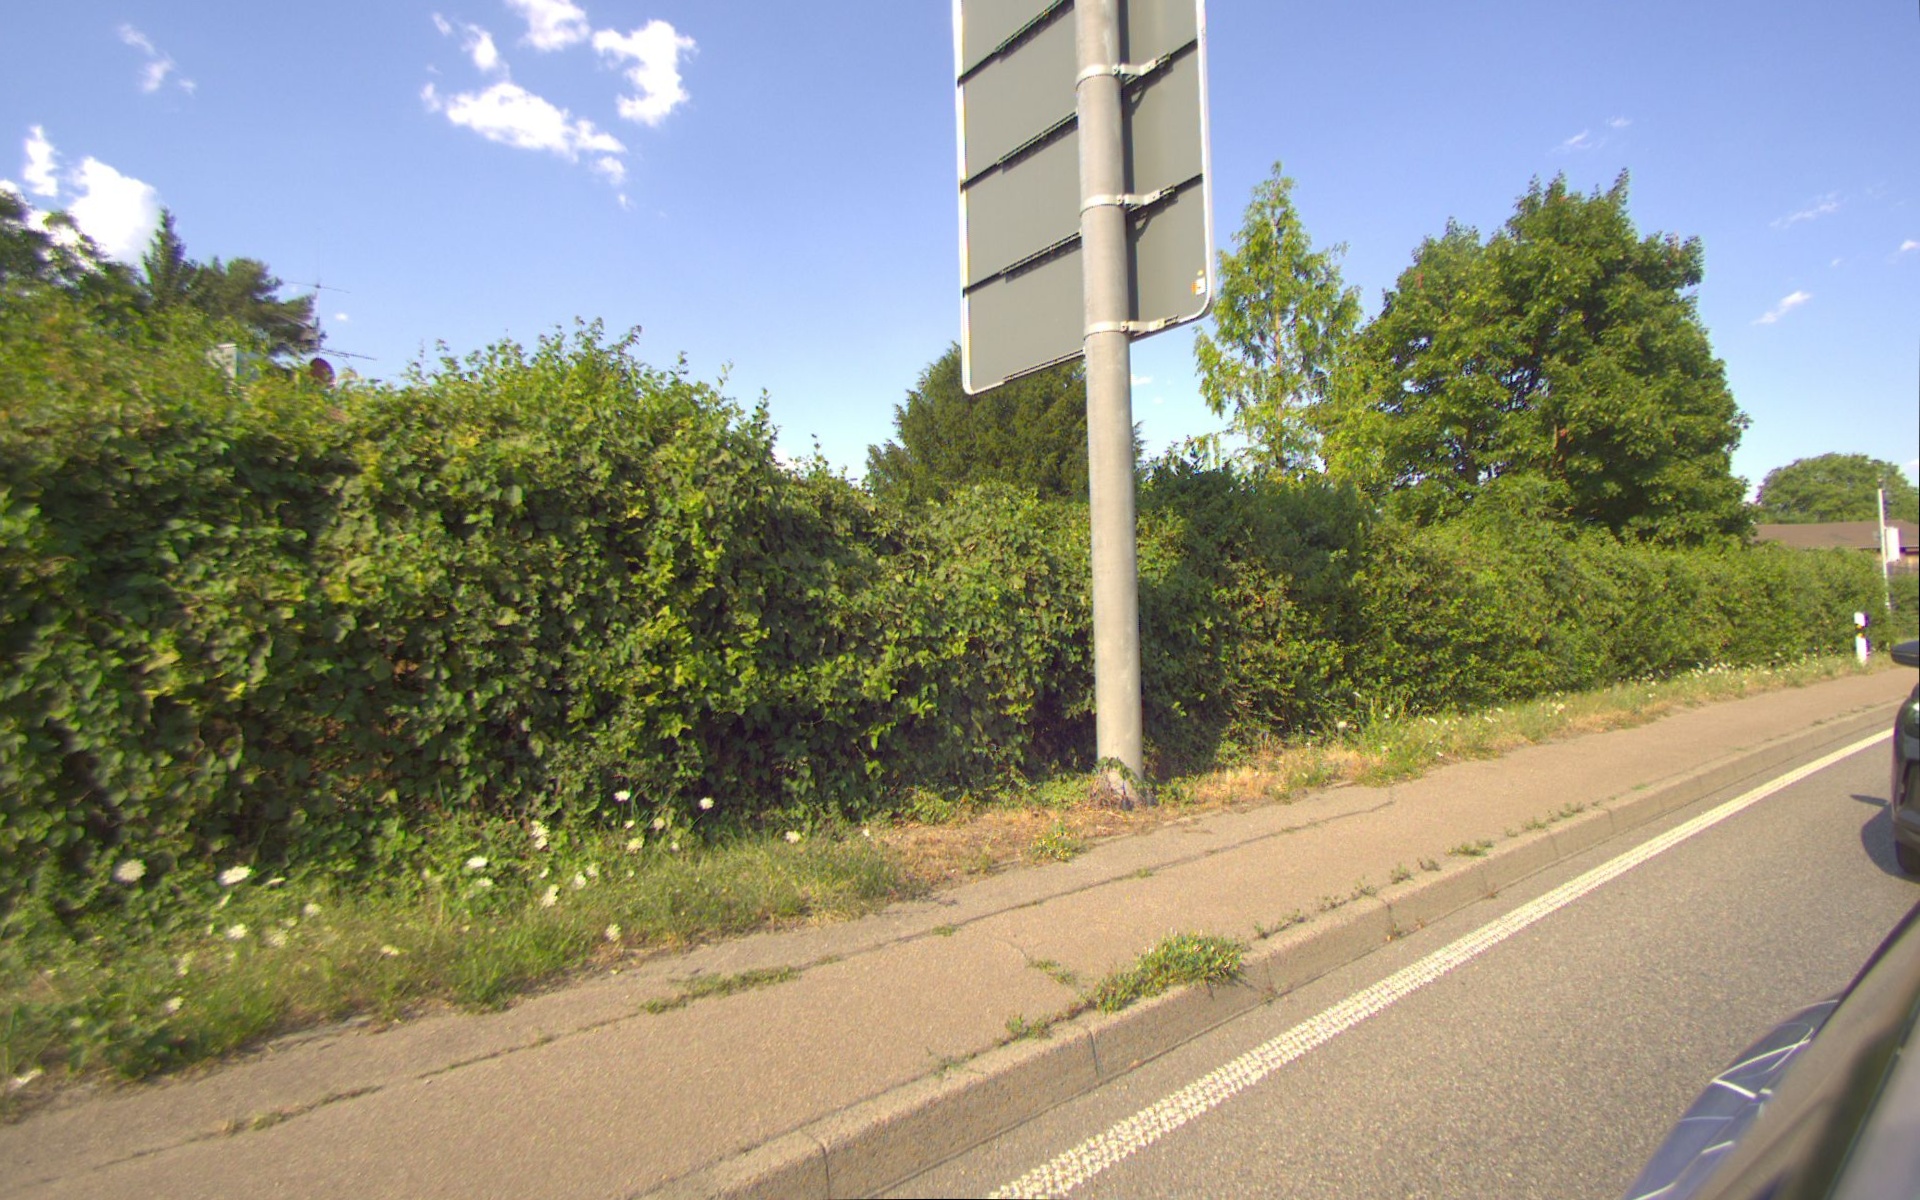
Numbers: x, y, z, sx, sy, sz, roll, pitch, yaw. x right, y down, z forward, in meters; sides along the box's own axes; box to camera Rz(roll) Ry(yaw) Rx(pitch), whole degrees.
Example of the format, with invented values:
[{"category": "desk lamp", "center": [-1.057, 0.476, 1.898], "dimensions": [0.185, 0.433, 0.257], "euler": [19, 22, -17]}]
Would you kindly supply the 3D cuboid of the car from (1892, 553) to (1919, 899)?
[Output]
[{"category": "car", "center": [6.609, 0.573, 5.531], "dimensions": [3.932, 1.662, 1.864], "euler": [-2, 2, -42]}]
